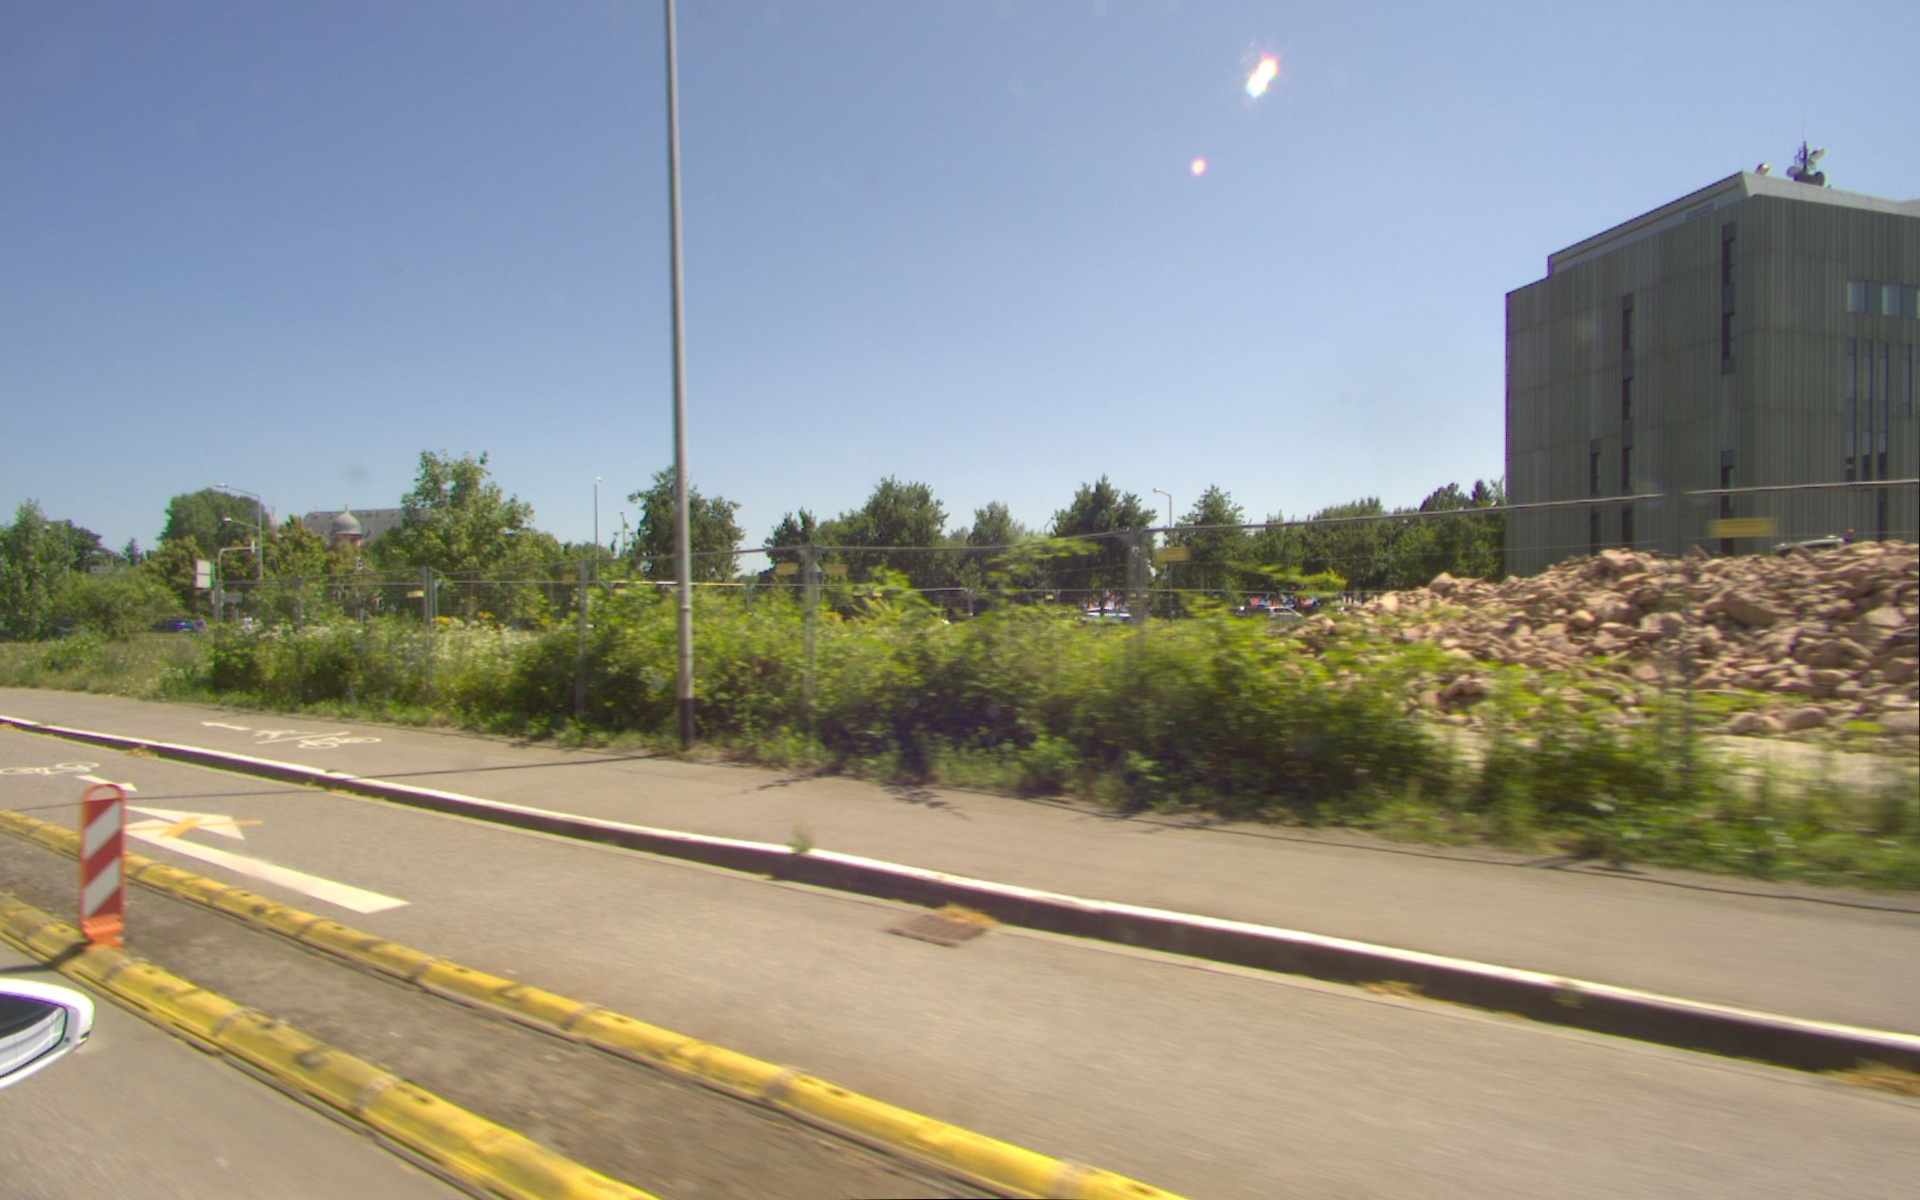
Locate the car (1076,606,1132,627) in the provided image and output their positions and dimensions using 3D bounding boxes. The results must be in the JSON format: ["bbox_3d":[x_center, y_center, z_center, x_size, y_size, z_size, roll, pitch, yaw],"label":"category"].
[{"bbox_3d":[11.221,1.278,78.226,3.925,1.606,1.882,0,0,-12],"label":"car"}]

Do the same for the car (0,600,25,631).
[{"bbox_3d":[-56.005,0.912,56.911,1.549,1.767,4.052,0,0,41],"label":"car"}]

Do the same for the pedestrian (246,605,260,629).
[{"bbox_3d":[-39.281,0.949,55.642,0.538,1.328,0.602,-1,0,-25],"label":"pedestrian"}]

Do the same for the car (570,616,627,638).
[{"bbox_3d":[-23.530,1.741,65.279,3.407,1.335,1.320,0,0,-17],"label":"car"}]

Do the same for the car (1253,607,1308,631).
[{"bbox_3d":[26.345,1.582,82.398,3.928,1.925,1.797,1,-2,-15],"label":"car"}]

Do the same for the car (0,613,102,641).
[{"bbox_3d":[-48.850,1.410,53.434,1.518,1.376,4.422,0,0,38],"label":"car"}]

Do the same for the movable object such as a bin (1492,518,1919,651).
[{"bbox_3d":[21.471,-0.309,29.182,10.317,3.303,4.930,-1,0,32],"label":"movable object such as a bin"}]

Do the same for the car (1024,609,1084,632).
[{"bbox_3d":[6.862,1.456,73.232,3.983,1.639,1.840,0,0,-11],"label":"car"}]

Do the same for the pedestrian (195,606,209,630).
[{"bbox_3d":[-41.563,0.975,54.923,0.597,1.328,0.542,-1,1,-36],"label":"pedestrian"}]
